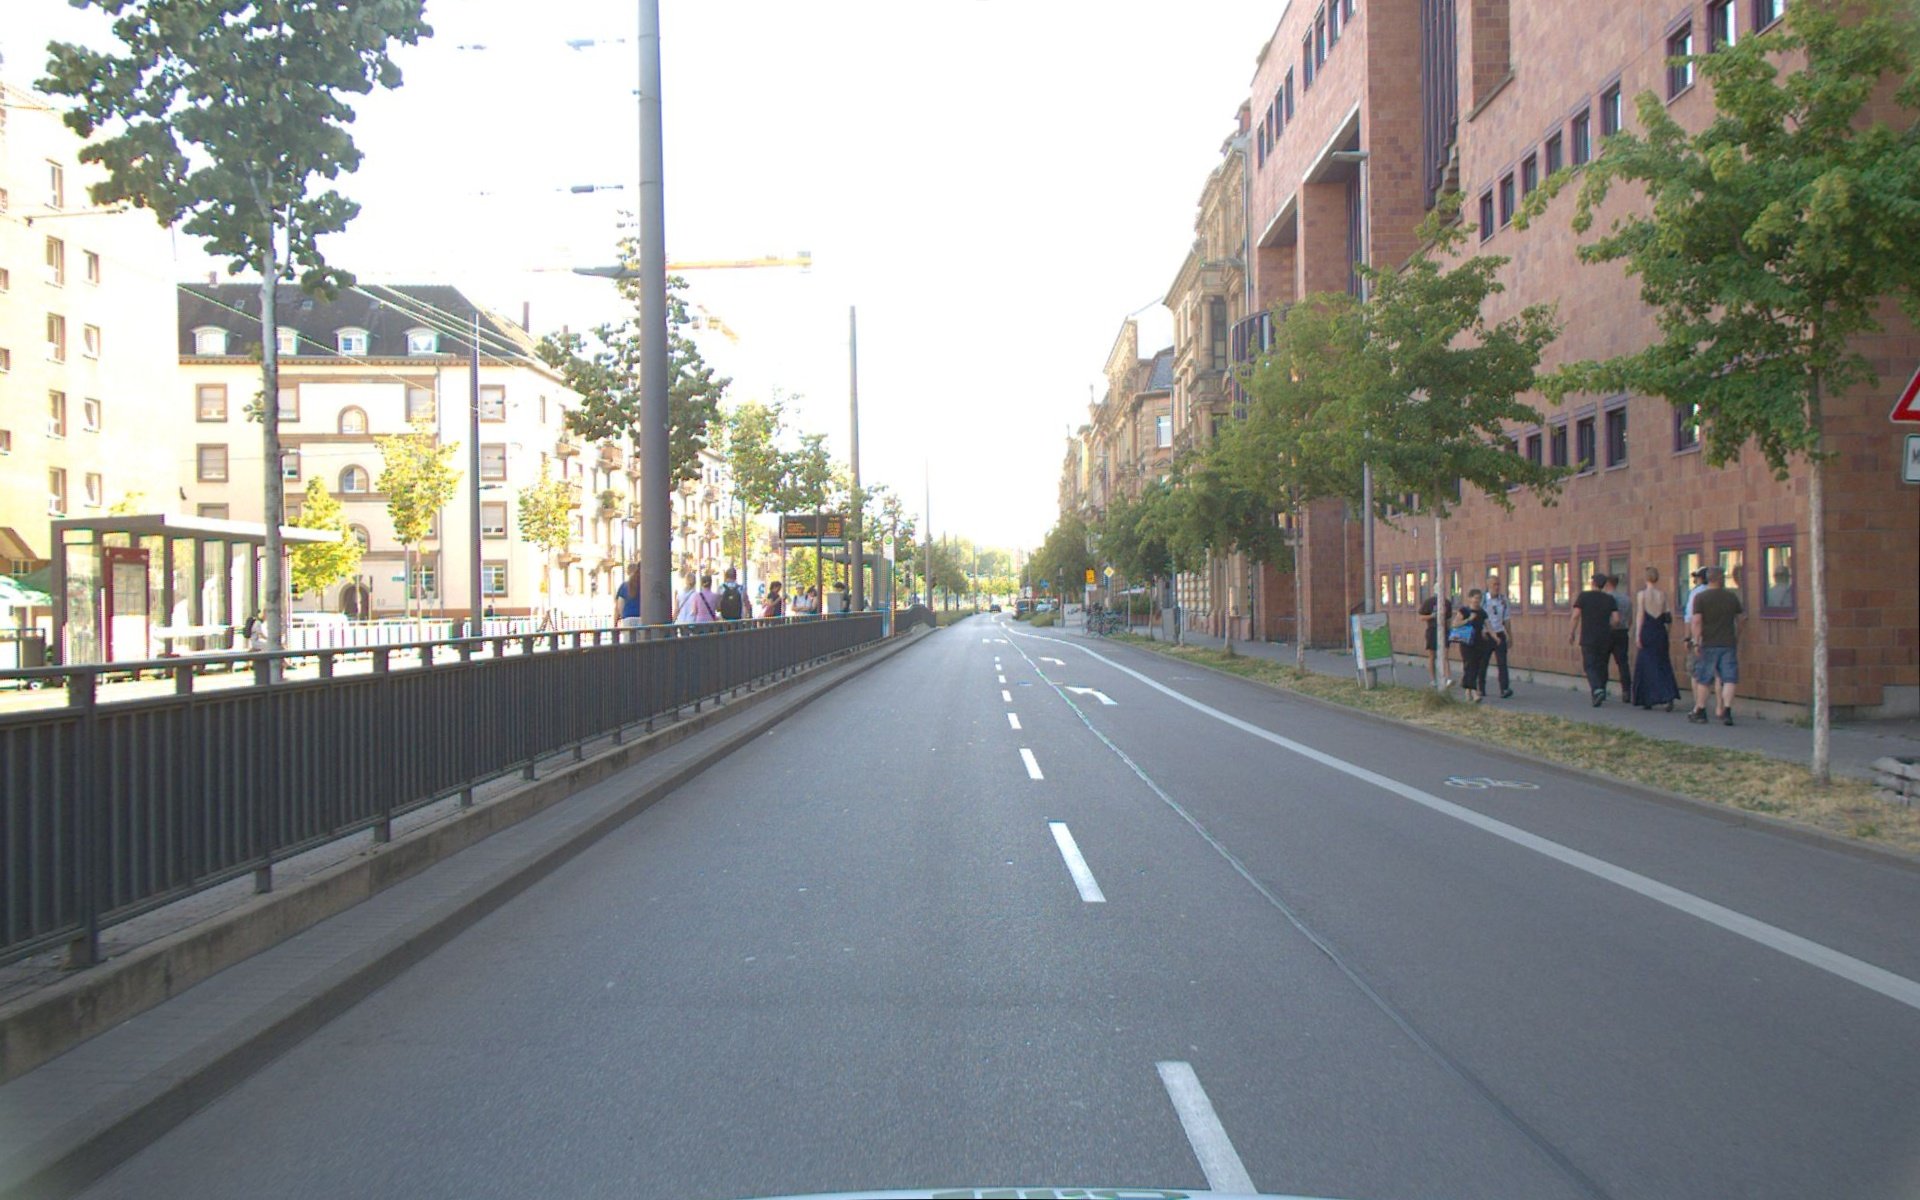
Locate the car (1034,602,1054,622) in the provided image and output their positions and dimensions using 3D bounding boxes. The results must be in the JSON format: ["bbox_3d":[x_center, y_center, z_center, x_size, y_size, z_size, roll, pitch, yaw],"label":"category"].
[{"bbox_3d":[7.381,1.032,145.452,1.603,1.512,4.214,-3,1,4],"label":"car"}]

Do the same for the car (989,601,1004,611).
[{"bbox_3d":[5.588,0.972,253.770,1.759,1.489,4.003,-1,0,8],"label":"car"}]

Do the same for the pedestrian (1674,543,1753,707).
[{"bbox_3d":[8.423,0.281,18.513,0.717,1.787,0.696,-1,0,20],"label":"pedestrian"}]

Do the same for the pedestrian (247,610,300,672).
[{"bbox_3d":[-13.899,0.823,33.503,0.659,1.210,0.906,-1,0,1],"label":"pedestrian"}]

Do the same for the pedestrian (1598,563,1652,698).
[{"bbox_3d":[8.993,0.409,22.382,0.525,1.787,0.422,-1,0,0],"label":"pedestrian"}]

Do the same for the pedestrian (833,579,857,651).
[{"bbox_3d":[-2.758,0.353,39.808,0.494,1.708,0.651,-1,0,0],"label":"pedestrian"}]

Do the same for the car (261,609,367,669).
[{"bbox_3d":[-24.261,1.447,62.286,1.951,2.049,4.150,-1,1,7],"label":"car"}]

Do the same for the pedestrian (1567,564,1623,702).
[{"bbox_3d":[8.379,0.433,21.835,0.525,1.787,0.465,-1,0,0],"label":"pedestrian"}]

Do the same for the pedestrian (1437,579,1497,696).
[{"bbox_3d":[7.235,0.535,23.634,0.507,1.633,0.702,-1,-1,-12],"label":"pedestrian"}]

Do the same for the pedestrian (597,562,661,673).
[{"bbox_3d":[-4.591,0.243,22.964,0.668,1.509,0.829,-1,0,4],"label":"pedestrian"}]

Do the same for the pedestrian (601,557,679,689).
[{"bbox_3d":[-4.219,0.299,21.861,0.870,1.701,0.672,-1,0,-1],"label":"pedestrian"}]

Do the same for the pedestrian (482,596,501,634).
[{"bbox_3d":[-25.691,0.841,90.654,0.784,2.049,0.625,-1,0,1],"label":"pedestrian"}]

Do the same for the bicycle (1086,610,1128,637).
[{"bbox_3d":[6.688,1.045,75.354,1.790,1.083,0.663,-4,1,-4],"label":"bicycle"}]

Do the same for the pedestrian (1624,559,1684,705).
[{"bbox_3d":[8.654,0.393,20.635,0.525,1.787,0.696,-1,0,11],"label":"pedestrian"}]

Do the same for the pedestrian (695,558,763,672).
[{"bbox_3d":[-3.571,0.231,25.654,0.870,1.701,1.095,-1,0,-1],"label":"pedestrian"}]

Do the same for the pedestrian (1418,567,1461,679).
[{"bbox_3d":[7.784,0.367,26.866,0.525,1.787,0.422,-1,0,-1],"label":"pedestrian"}]

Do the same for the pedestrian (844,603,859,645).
[{"bbox_3d":[-3.661,0.808,55.865,0.420,1.410,0.406,-1,0,-11],"label":"pedestrian"}]

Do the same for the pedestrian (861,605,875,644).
[{"bbox_3d":[-2.942,0.778,52.854,0.399,1.211,0.428,-1,0,-12],"label":"pedestrian"}]

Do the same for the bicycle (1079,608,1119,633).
[{"bbox_3d":[6.671,0.984,79.586,1.790,1.083,0.663,-4,1,-4],"label":"bicycle"}]

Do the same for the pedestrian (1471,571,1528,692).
[{"bbox_3d":[7.880,0.455,24.181,0.560,1.743,0.641,-1,-1,-4],"label":"pedestrian"}]

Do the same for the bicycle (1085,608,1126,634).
[{"bbox_3d":[6.863,1.001,78.109,1.790,1.083,0.663,-4,1,-4],"label":"bicycle"}]

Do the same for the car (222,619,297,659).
[{"bbox_3d":[-31.632,1.731,74.791,1.801,1.612,4.153,-1,1,-4],"label":"car"}]

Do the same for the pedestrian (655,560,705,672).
[{"bbox_3d":[-4.367,0.245,25.843,0.643,1.701,0.672,-1,0,-1],"label":"pedestrian"}]

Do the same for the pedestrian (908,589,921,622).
[{"bbox_3d":[-2.379,0.297,86.252,0.641,1.672,0.867,-1,-1,1],"label":"pedestrian"}]

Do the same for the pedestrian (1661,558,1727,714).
[{"bbox_3d":[8.601,0.412,19.399,0.525,1.787,0.696,-1,0,11],"label":"pedestrian"}]

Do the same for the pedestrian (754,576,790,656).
[{"bbox_3d":[-4.250,0.358,37.388,0.705,1.762,0.651,-1,0,0],"label":"pedestrian"}]

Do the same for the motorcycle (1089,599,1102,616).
[{"bbox_3d":[11.488,0.648,140.335,0.778,1.331,2.852,-3,1,1],"label":"motorcycle"}]

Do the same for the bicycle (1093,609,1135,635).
[{"bbox_3d":[7.159,1.013,76.719,1.790,1.083,0.663,-4,1,-4],"label":"bicycle"}]

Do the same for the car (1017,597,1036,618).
[{"bbox_3d":[6.520,0.694,162.013,1.846,1.971,4.475,-1,1,3],"label":"car"}]

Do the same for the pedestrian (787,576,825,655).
[{"bbox_3d":[-3.166,0.321,34.035,0.659,1.589,0.906,-1,0,1],"label":"pedestrian"}]

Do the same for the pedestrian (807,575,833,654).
[{"bbox_3d":[-3.201,0.325,37.745,0.494,1.762,0.651,-1,0,0],"label":"pedestrian"}]
